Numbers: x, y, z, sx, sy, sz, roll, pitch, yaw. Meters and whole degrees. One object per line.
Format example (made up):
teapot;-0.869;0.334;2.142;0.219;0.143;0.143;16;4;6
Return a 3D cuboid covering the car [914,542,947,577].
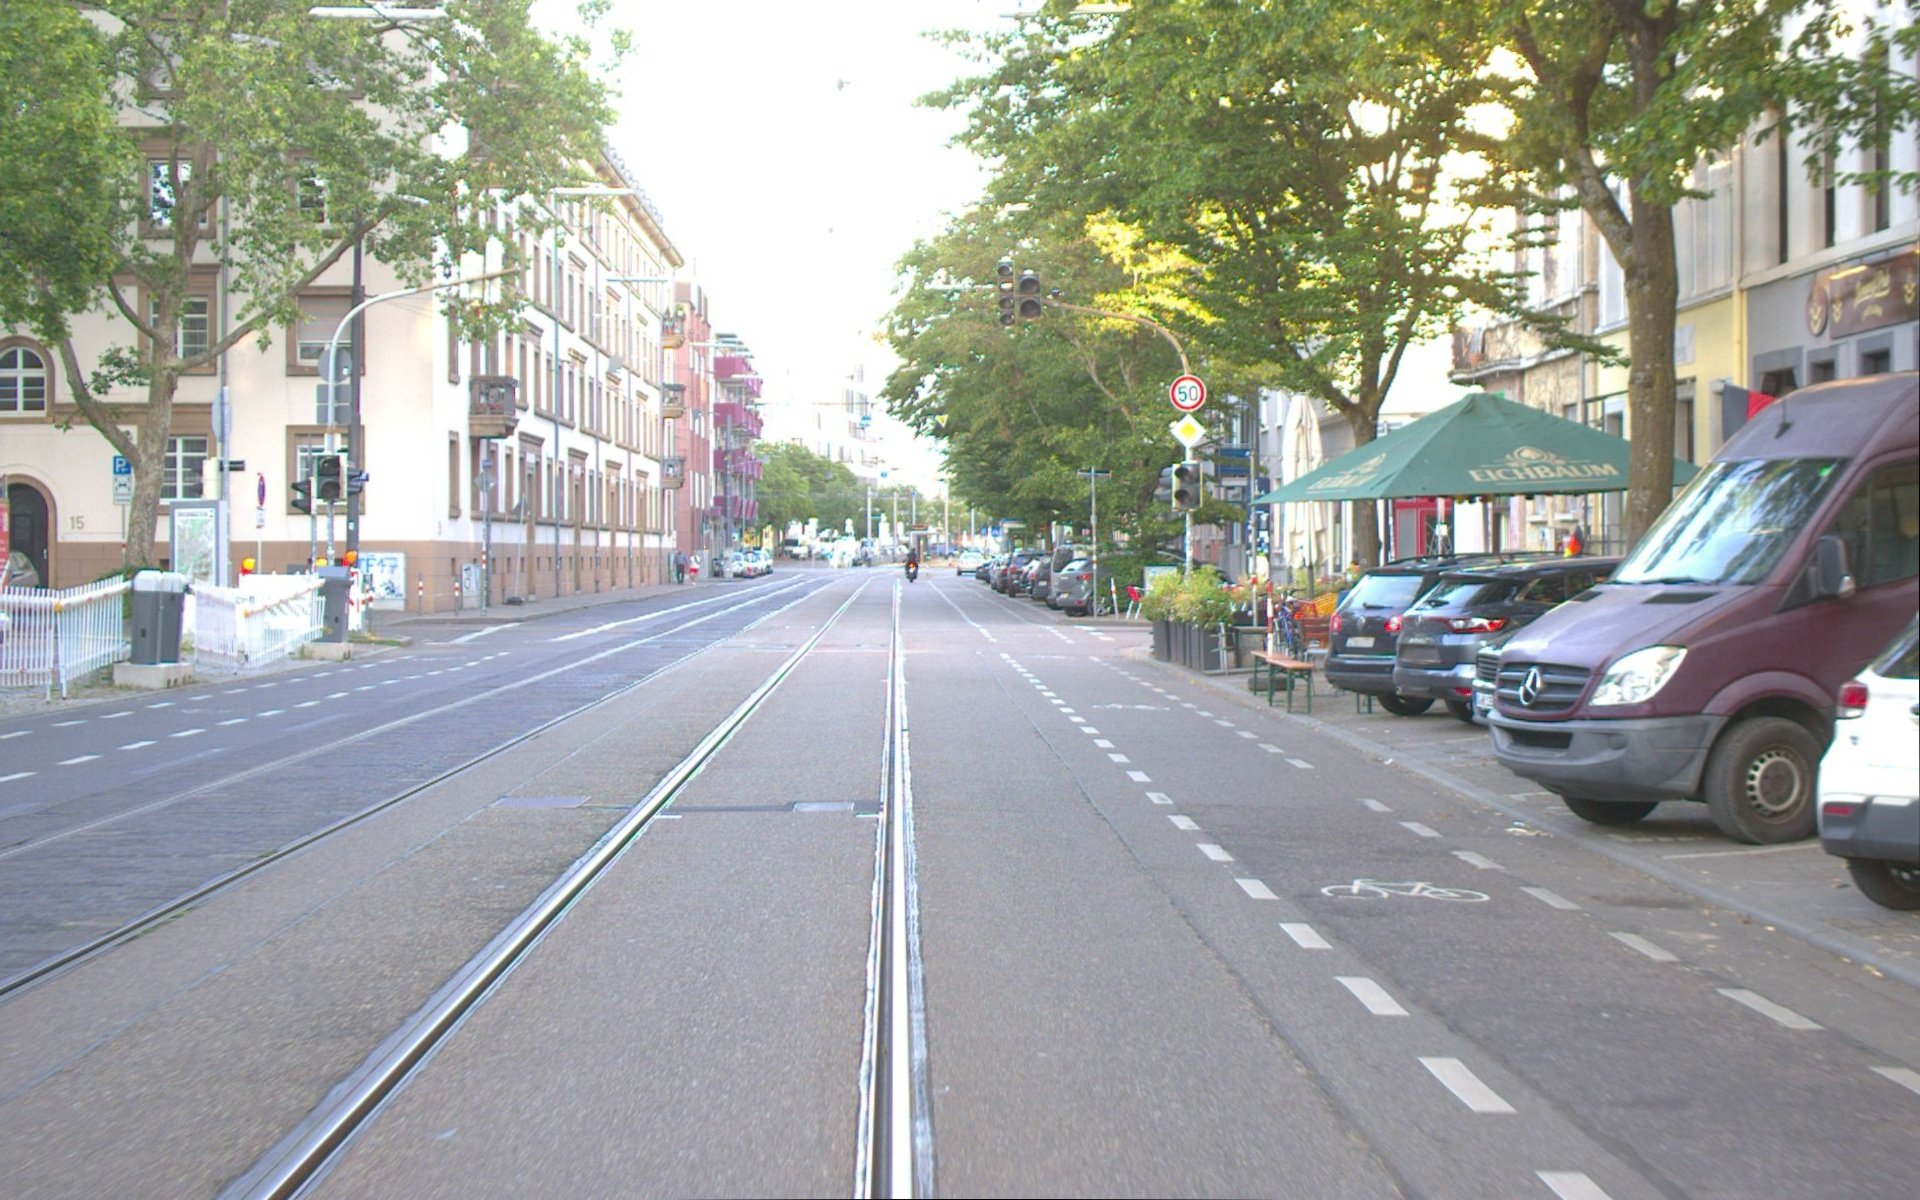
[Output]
car;-1.788;-2.442;206.966;1.898;2.007;4.000;1;1;-1

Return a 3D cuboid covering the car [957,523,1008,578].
car;0.845;-1.859;129.822;1.804;2.007;4.000;1;1;-1

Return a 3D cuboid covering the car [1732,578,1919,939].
car;5.636;0.602;15.172;3.950;1.481;1.921;-2;0;-24

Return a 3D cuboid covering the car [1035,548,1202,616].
car;3.740;-0.441;81.776;3.887;1.587;1.861;0;1;0

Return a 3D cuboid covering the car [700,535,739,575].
car;-13.424;-2.529;192.013;1.898;2.171;4.000;1;1;-1

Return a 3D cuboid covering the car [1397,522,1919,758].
car;5.546;0.285;26.389;4.011;1.702;1.818;-1;0;-7

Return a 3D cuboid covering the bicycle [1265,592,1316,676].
bicycle;4.159;0.417;43.361;0.418;1.012;1.830;1;1;-1

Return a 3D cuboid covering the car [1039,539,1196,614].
car;3.972;-0.598;87.212;3.887;1.842;1.861;0;0;0

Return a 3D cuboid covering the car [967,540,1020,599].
car;1.173;-1.088;121.144;1.721;2.007;4.000;1;1;-1

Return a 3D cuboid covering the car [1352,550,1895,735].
car;5.766;0.340;30.006;4.174;1.457;2.009;-1;0;-17

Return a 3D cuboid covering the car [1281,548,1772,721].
car;5.382;0.300;32.656;4.174;1.493;2.009;-1;0;-25

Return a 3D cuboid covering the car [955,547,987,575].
car;0.682;-2.489;218.303;1.963;1.713;4.000;1;1;-1

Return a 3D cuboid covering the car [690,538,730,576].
car;-13.605;-2.345;187.368;1.898;2.007;4.000;1;1;-1

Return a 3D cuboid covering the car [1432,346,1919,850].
car;5.519;-0.087;19.811;5.093;2.633;2.022;-2;1;-17
